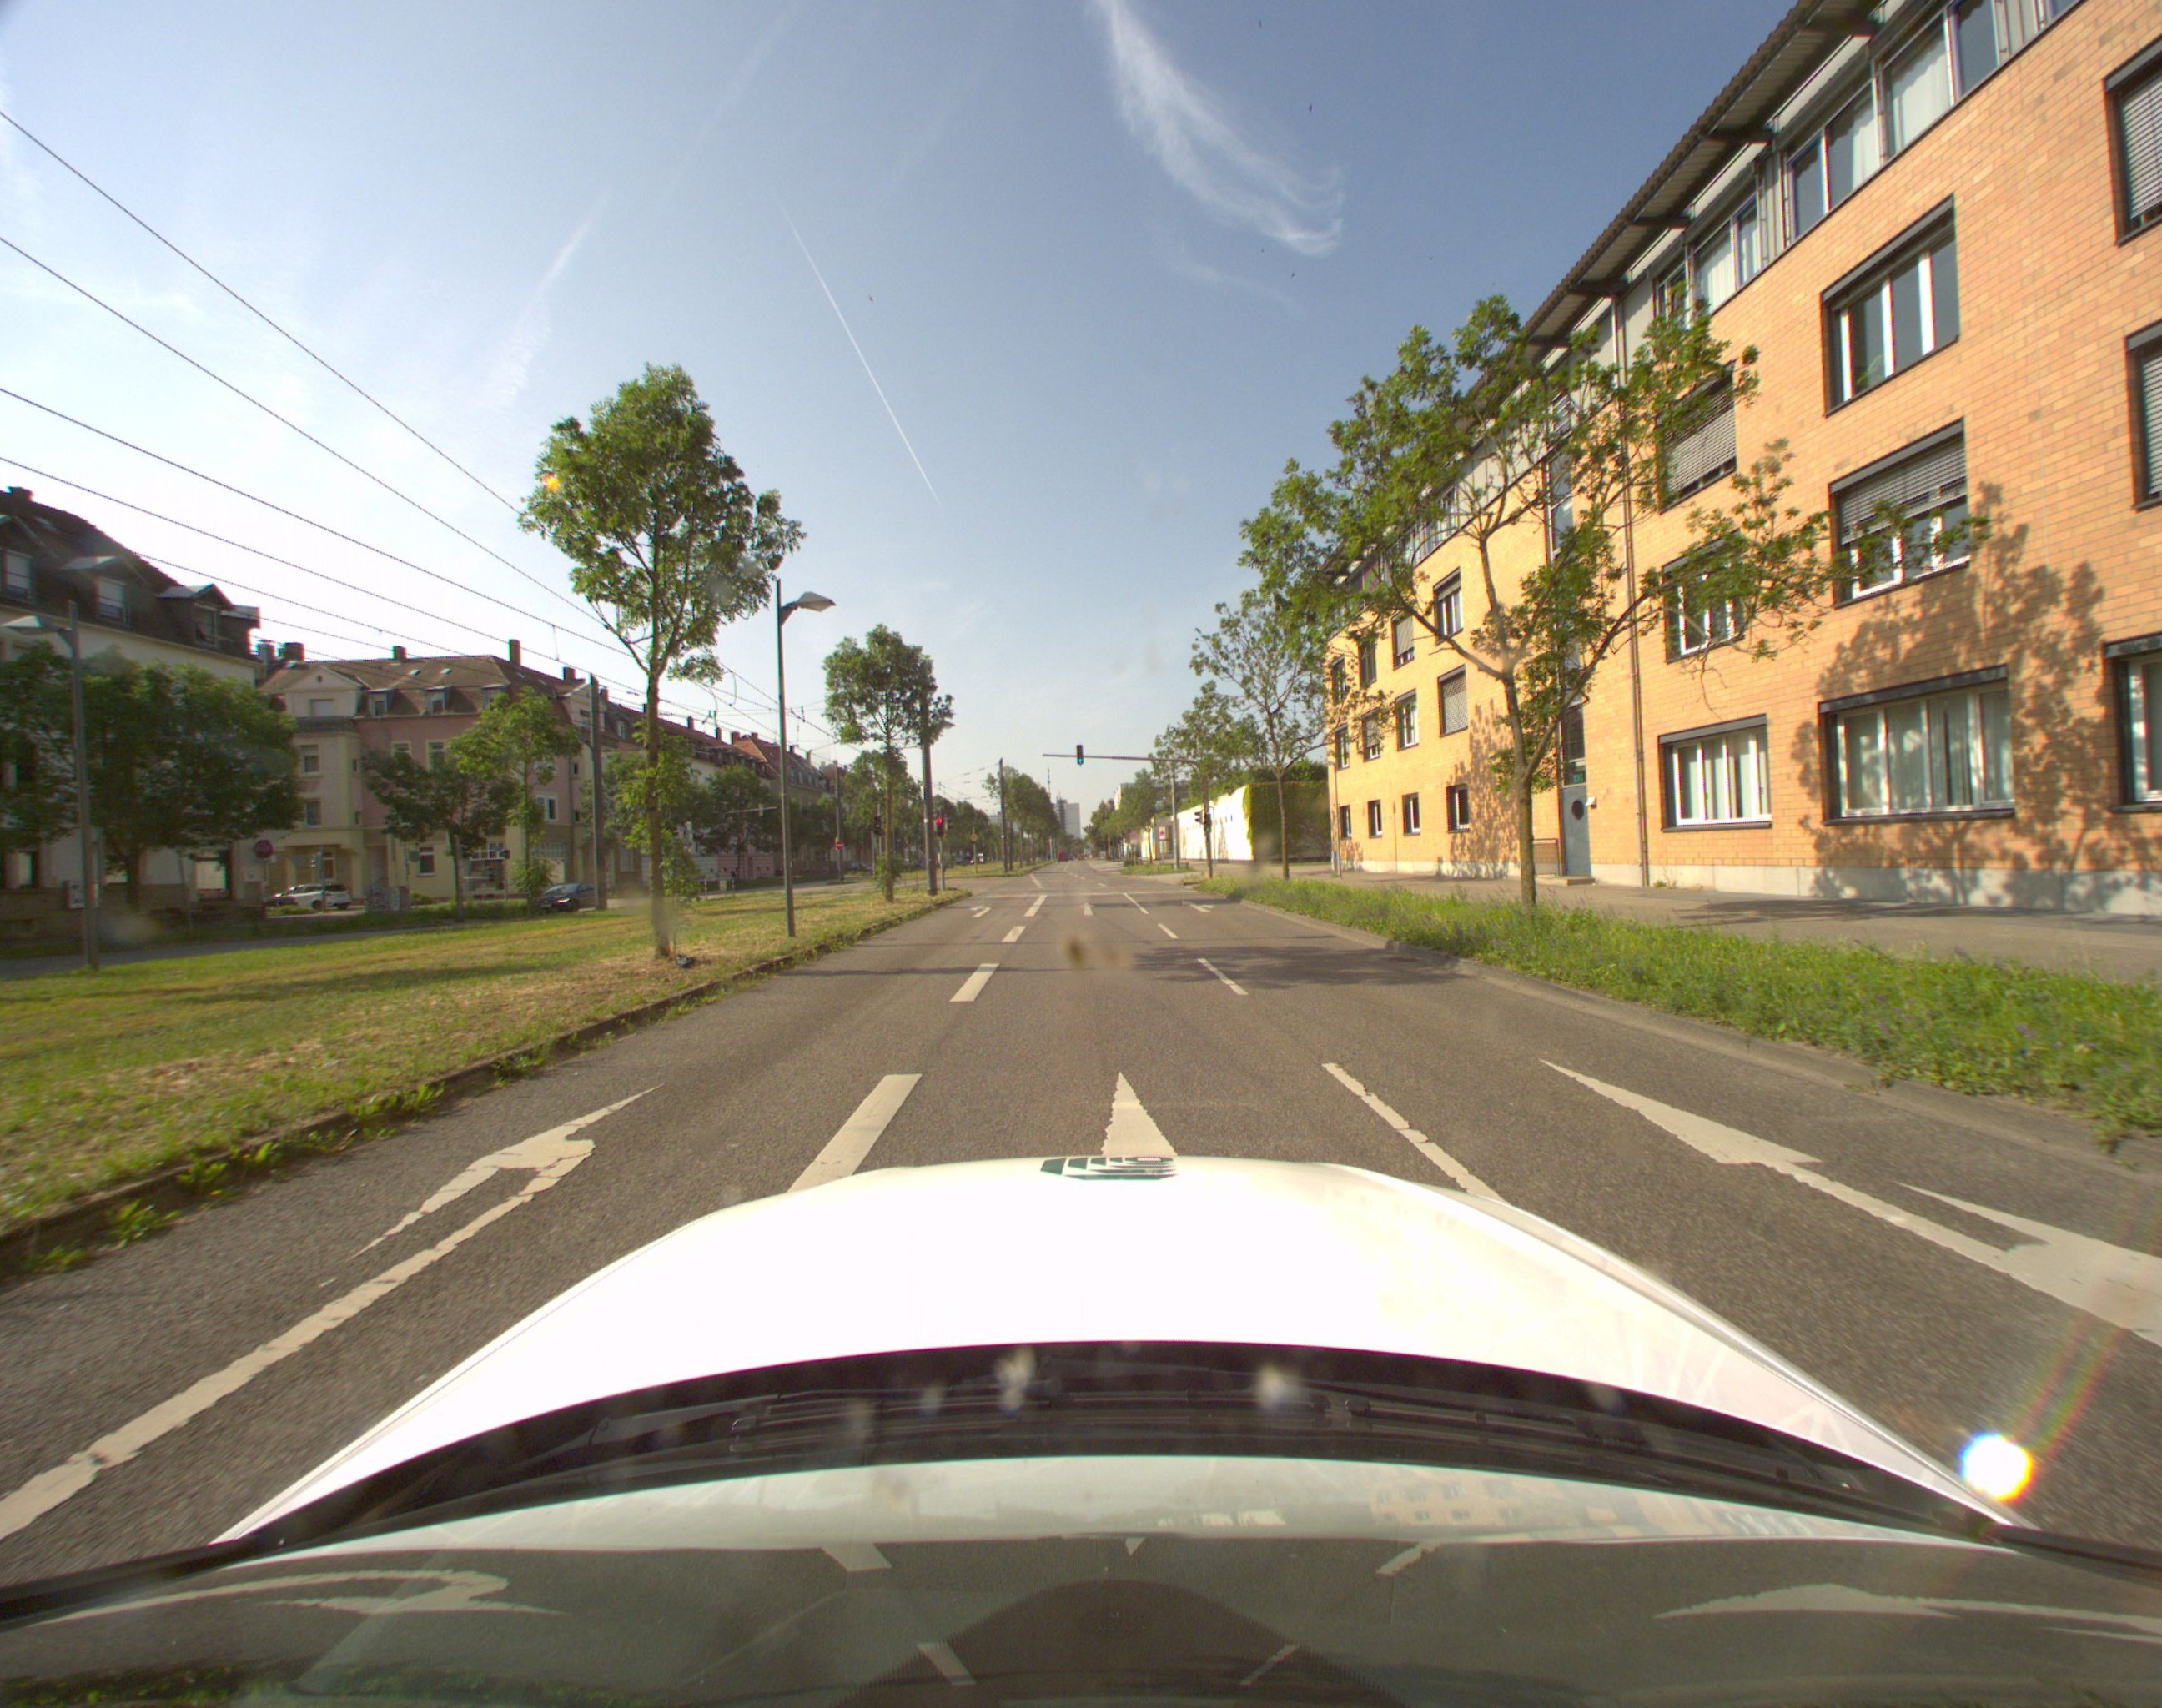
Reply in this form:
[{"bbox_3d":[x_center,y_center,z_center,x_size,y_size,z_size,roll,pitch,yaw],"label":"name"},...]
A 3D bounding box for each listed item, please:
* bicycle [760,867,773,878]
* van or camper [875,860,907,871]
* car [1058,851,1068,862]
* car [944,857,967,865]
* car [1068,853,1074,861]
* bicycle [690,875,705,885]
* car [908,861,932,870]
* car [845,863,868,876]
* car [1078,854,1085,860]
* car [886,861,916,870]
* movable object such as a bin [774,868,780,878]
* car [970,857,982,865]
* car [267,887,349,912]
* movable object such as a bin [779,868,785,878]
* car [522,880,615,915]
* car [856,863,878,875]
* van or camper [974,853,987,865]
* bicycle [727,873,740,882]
[{"bbox_3d":[-32.994,1.961,85.404,0.602,1.128,1.946,0,-1,-2],"label":"bicycle"},{"bbox_3d":[-28.881,1.681,123.798,4.788,1.623,2.015,0,-1,32],"label":"van or camper"},{"bbox_3d":[-3.241,0.403,149.061,1.742,2.014,3.215,0,-1,0],"label":"car"},{"bbox_3d":[-28.932,1.630,188.360,5.258,1.738,2.013,-1,-1,33],"label":"car"},{"bbox_3d":[-2.678,0.818,222.094,1.742,2.014,3.215,0,-1,0],"label":"car"},{"bbox_3d":[-33.207,2.242,70.555,0.436,0.789,1.946,0,-1,-2],"label":"bicycle"},{"bbox_3d":[-28.144,2.019,142.584,3.951,1.417,1.586,0,-1,25],"label":"car"},{"bbox_3d":[-30.392,2.054,110.409,1.988,1.628,4.771,0,0,-2],"label":"car"},{"bbox_3d":[0.096,0.830,226.999,1.742,1.650,3.215,0,-1,0],"label":"car"},{"bbox_3d":[-28.052,1.830,127.034,4.419,1.419,1.988,-1,-1,34],"label":"car"},{"bbox_3d":[-39.026,2.447,104.462,0.583,1.211,0.640,0,-1,-2],"label":"movable object such as a bin"},{"bbox_3d":[-23.592,1.551,182.936,1.956,1.694,4.300,0,-1,3],"label":"car"},{"bbox_3d":[-47.333,2.794,49.897,3.390,1.462,1.568,0,-1,-3],"label":"car"},{"bbox_3d":[-38.336,2.419,104.487,0.583,1.211,0.640,0,-1,-2],"label":"movable object such as a bin"},{"bbox_3d":[-23.496,1.972,37.502,1.807,1.433,3.924,0,-1,-1],"label":"car"},{"bbox_3d":[-30.518,2.168,116.293,1.882,1.628,4.158,0,0,2],"label":"car"},{"bbox_3d":[-23.425,1.185,189.890,2.197,2.531,6.027,0,-1,-1],"label":"van or camper"},{"bbox_3d":[-32.941,2.241,77.225,0.446,0.857,1.946,0,-1,-2],"label":"bicycle"}]
